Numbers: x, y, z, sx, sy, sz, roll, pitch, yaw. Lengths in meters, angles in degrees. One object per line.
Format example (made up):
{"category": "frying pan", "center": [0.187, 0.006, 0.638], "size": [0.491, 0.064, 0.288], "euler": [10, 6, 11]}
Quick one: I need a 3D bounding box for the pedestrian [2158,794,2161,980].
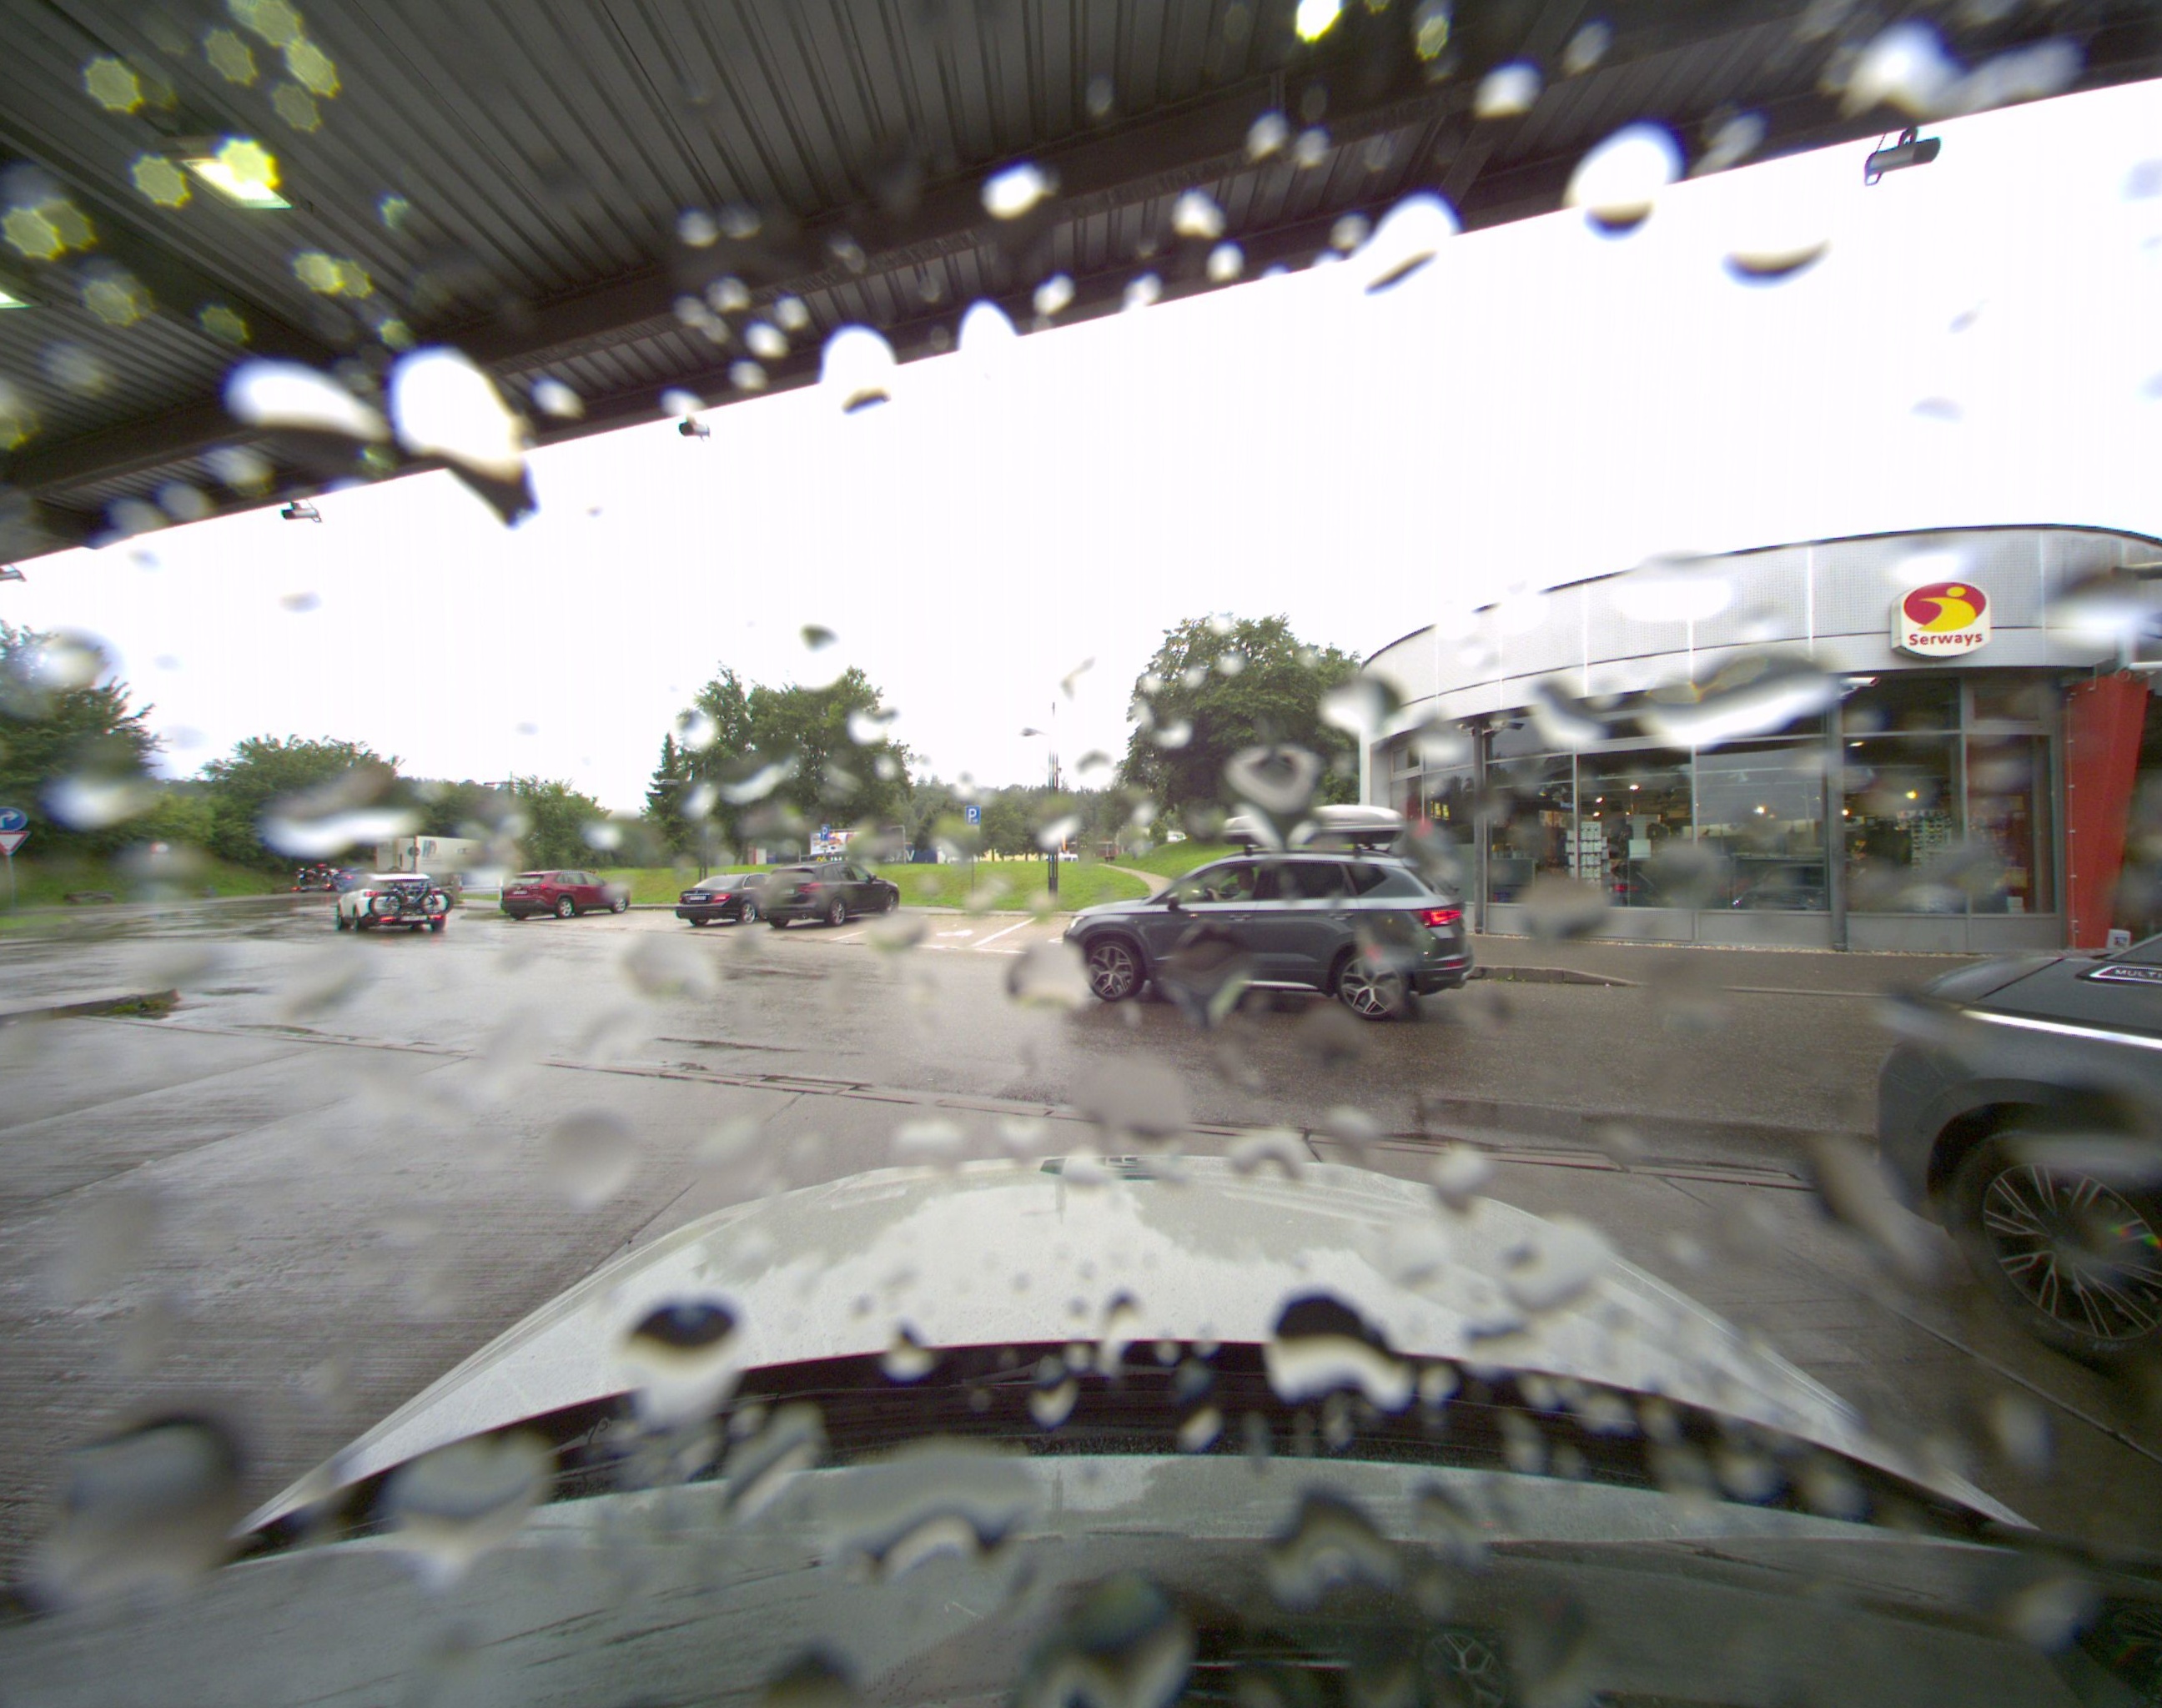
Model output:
{"category": "pedestrian", "center": [10.358, 0.391, 7.051], "size": [0.712, 1.894, 1.009], "euler": [-1, 0, 4]}

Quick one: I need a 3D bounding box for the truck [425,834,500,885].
{"category": "truck", "center": [-57.100, 0.516, 75.435], "size": [3.467, 4.557, 6.694], "euler": [0, -1, -18]}

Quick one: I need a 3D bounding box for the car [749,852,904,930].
{"category": "car", "center": [-6.616, 0.895, 21.746], "size": [1.871, 1.828, 4.429], "euler": [-2, 0, 13]}

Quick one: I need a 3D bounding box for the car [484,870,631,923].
{"category": "car", "center": [-18.158, 1.425, 28.529], "size": [1.873, 1.596, 4.364], "euler": [-2, 0, 8]}

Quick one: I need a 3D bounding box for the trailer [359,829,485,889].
{"category": "trailer", "center": [-54.879, 0.442, 68.494], "size": [3.466, 4.557, 13.827], "euler": [0, -1, -18]}

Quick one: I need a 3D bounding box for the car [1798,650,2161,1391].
{"category": "car", "center": [3.712, 0.431, 1.233], "size": [1.809, 1.948, 4.002], "euler": [-1, 0, 2]}

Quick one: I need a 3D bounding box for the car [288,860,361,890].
{"category": "car", "center": [-49.229, 1.320, 53.123], "size": [1.934, 1.838, 4.361], "euler": [-1, 0, -20]}

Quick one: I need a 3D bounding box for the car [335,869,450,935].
{"category": "car", "center": [-18.926, 1.212, 22.307], "size": [4.941, 1.565, 1.831], "euler": [-1, 0, 43]}

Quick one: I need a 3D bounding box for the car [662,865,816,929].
{"category": "car", "center": [-9.617, 1.145, 23.304], "size": [1.871, 1.565, 4.200], "euler": [-2, 0, 13]}

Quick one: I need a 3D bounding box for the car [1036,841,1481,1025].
{"category": "car", "center": [1.871, 0.691, 8.738], "size": [4.273, 1.587, 1.901], "euler": [-1, 0, 24]}

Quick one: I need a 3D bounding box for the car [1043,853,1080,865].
{"category": "car", "center": [-3.208, 0.813, 133.969], "size": [5.376, 2.013, 2.468], "euler": [-1, 0, 21]}
